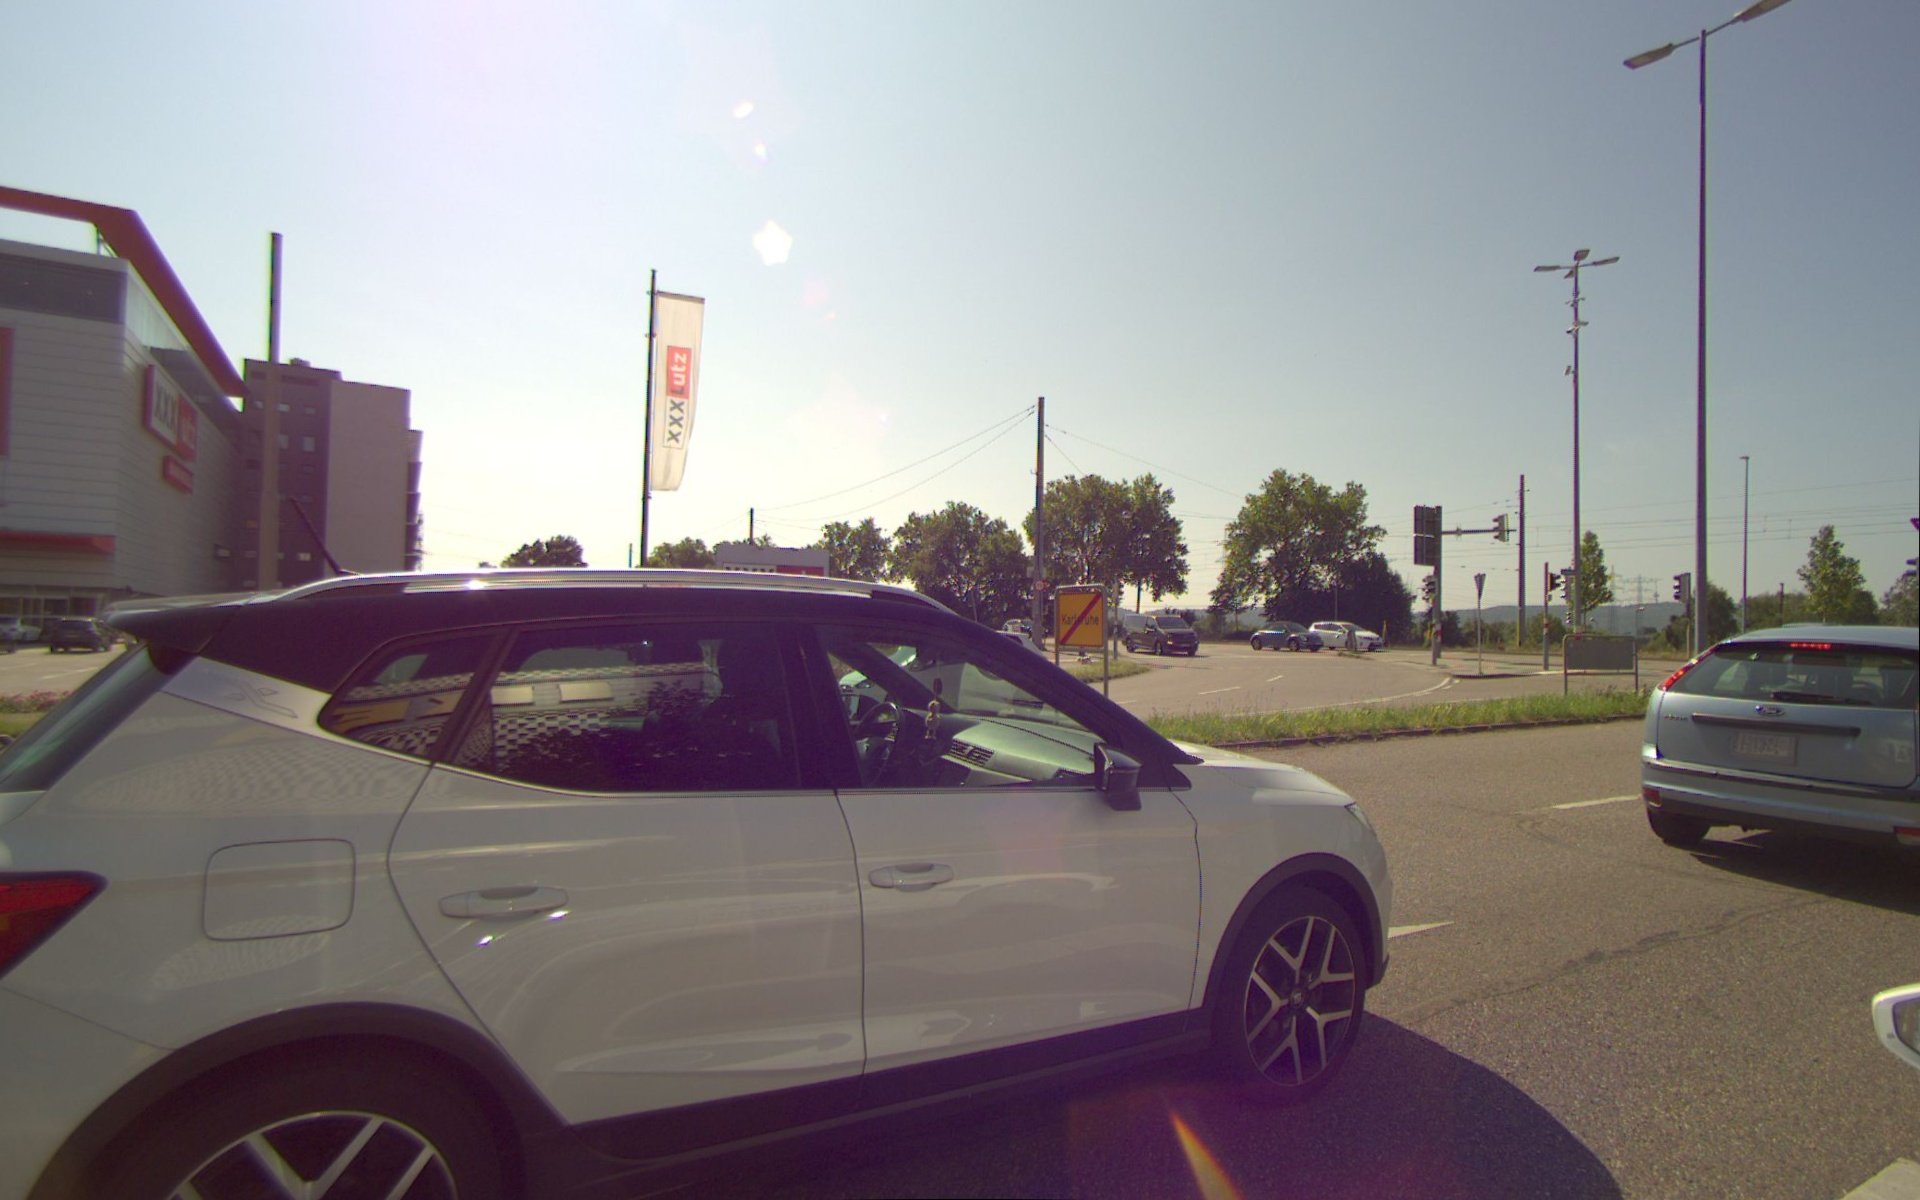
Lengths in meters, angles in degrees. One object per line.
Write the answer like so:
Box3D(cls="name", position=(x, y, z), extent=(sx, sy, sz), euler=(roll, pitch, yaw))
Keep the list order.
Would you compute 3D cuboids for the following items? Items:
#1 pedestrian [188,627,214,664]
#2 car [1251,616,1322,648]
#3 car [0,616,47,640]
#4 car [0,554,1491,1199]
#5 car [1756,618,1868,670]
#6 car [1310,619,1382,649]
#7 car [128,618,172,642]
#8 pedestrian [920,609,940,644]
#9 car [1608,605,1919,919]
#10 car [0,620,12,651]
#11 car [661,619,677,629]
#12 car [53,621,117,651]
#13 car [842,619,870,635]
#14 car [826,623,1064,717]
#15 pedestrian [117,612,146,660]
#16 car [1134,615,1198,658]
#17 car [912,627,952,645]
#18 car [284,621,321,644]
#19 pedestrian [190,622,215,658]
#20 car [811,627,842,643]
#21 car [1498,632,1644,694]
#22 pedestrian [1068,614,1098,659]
Box3D(cls="pedestrian", position=(-41.911, 2.502, 55.454), extent=(0.964, 2.040, 0.942), euler=(1, -2, -29))
Box3D(cls="car", position=(16.800, 1.647, 51.767), extent=(1.394, 1.519, 3.368), euler=(3, -3, -31))
Box3D(cls="car", position=(-52.555, 1.566, 56.285), extent=(1.425, 1.241, 3.072), euler=(3, -3, -30))
Box3D(cls="car", position=(-0.308, 0.682, 3.069), extent=(3.823, 1.518, 1.623), euler=(-1, 0, -30))
Box3D(cls="car", position=(28.410, 1.423, 33.478), extent=(3.870, 1.646, 1.620), euler=(0, -1, -30))
Box3D(cls="car", position=(20.103, 1.763, 52.459), extent=(1.395, 1.519, 3.323), euler=(3, -3, -33))
Box3D(cls="car", position=(-48.282, 1.761, 59.922), extent=(1.498, 1.347, 3.072), euler=(3, -3, -30))
Box3D(cls="pedestrian", position=(-1.756, 1.576, 58.699), extent=(0.906, 1.997, 0.714), euler=(3, -2, -26))
Box3D(cls="car", position=(6.313, 0.871, 6.751), extent=(4.127, 1.594, 1.697), euler=(2, -1, -32))
Box3D(cls="car", position=(-43.153, 1.552, 44.130), extent=(1.498, 1.347, 3.072), euler=(3, -3, -30))
Box3D(cls="car", position=(-48.297, 3.978, 166.504), extent=(1.614, 1.646, 3.754), euler=(1, -2, -31))
Box3D(cls="car", position=(-42.983, 1.761, 49.394), extent=(1.759, 1.347, 3.072), euler=(3, -3, -31))
Box3D(cls="car", position=(-11.131, 2.854, 107.353), extent=(1.614, 1.646, 3.754), euler=(1, -2, -31))
Box3D(cls="car", position=(-0.255, 1.260, 18.592), extent=(4.034, 1.567, 1.788), euler=(2, -2, -27))
Box3D(cls="pedestrian", position=(-33.792, 1.472, 40.985), extent=(0.489, 1.920, 0.784), euler=(0, -2, 0))
Box3D(cls="car", position=(9.795, 1.707, 48.109), extent=(1.783, 1.951, 3.994), euler=(0, 0, -8))
Box3D(cls="car", position=(-2.397, 3.063, 85.243), extent=(1.742, 1.540, 3.968), euler=(1, -2, -31))
Box3D(cls="car", position=(-41.558, 2.040, 63.581), extent=(1.732, 1.347, 3.644), euler=(3, -3, -30))
Box3D(cls="pedestrian", position=(-42.632, 2.256, 56.561), extent=(0.964, 2.040, 0.942), euler=(1, -3, -29))
Box3D(cls="car", position=(-13.957, 3.622, 104.839), extent=(1.886, 1.593, 3.806), euler=(3, -3, -30))
Box3D(cls="car", position=(10.756, 1.079, 17.671), extent=(2.461, 1.017, 1.113), euler=(1, -2, -29))
Box3D(cls="pedestrian", position=(4.850, 1.445, 39.701), extent=(0.891, 1.729, 0.839), euler=(1, -2, -18))
